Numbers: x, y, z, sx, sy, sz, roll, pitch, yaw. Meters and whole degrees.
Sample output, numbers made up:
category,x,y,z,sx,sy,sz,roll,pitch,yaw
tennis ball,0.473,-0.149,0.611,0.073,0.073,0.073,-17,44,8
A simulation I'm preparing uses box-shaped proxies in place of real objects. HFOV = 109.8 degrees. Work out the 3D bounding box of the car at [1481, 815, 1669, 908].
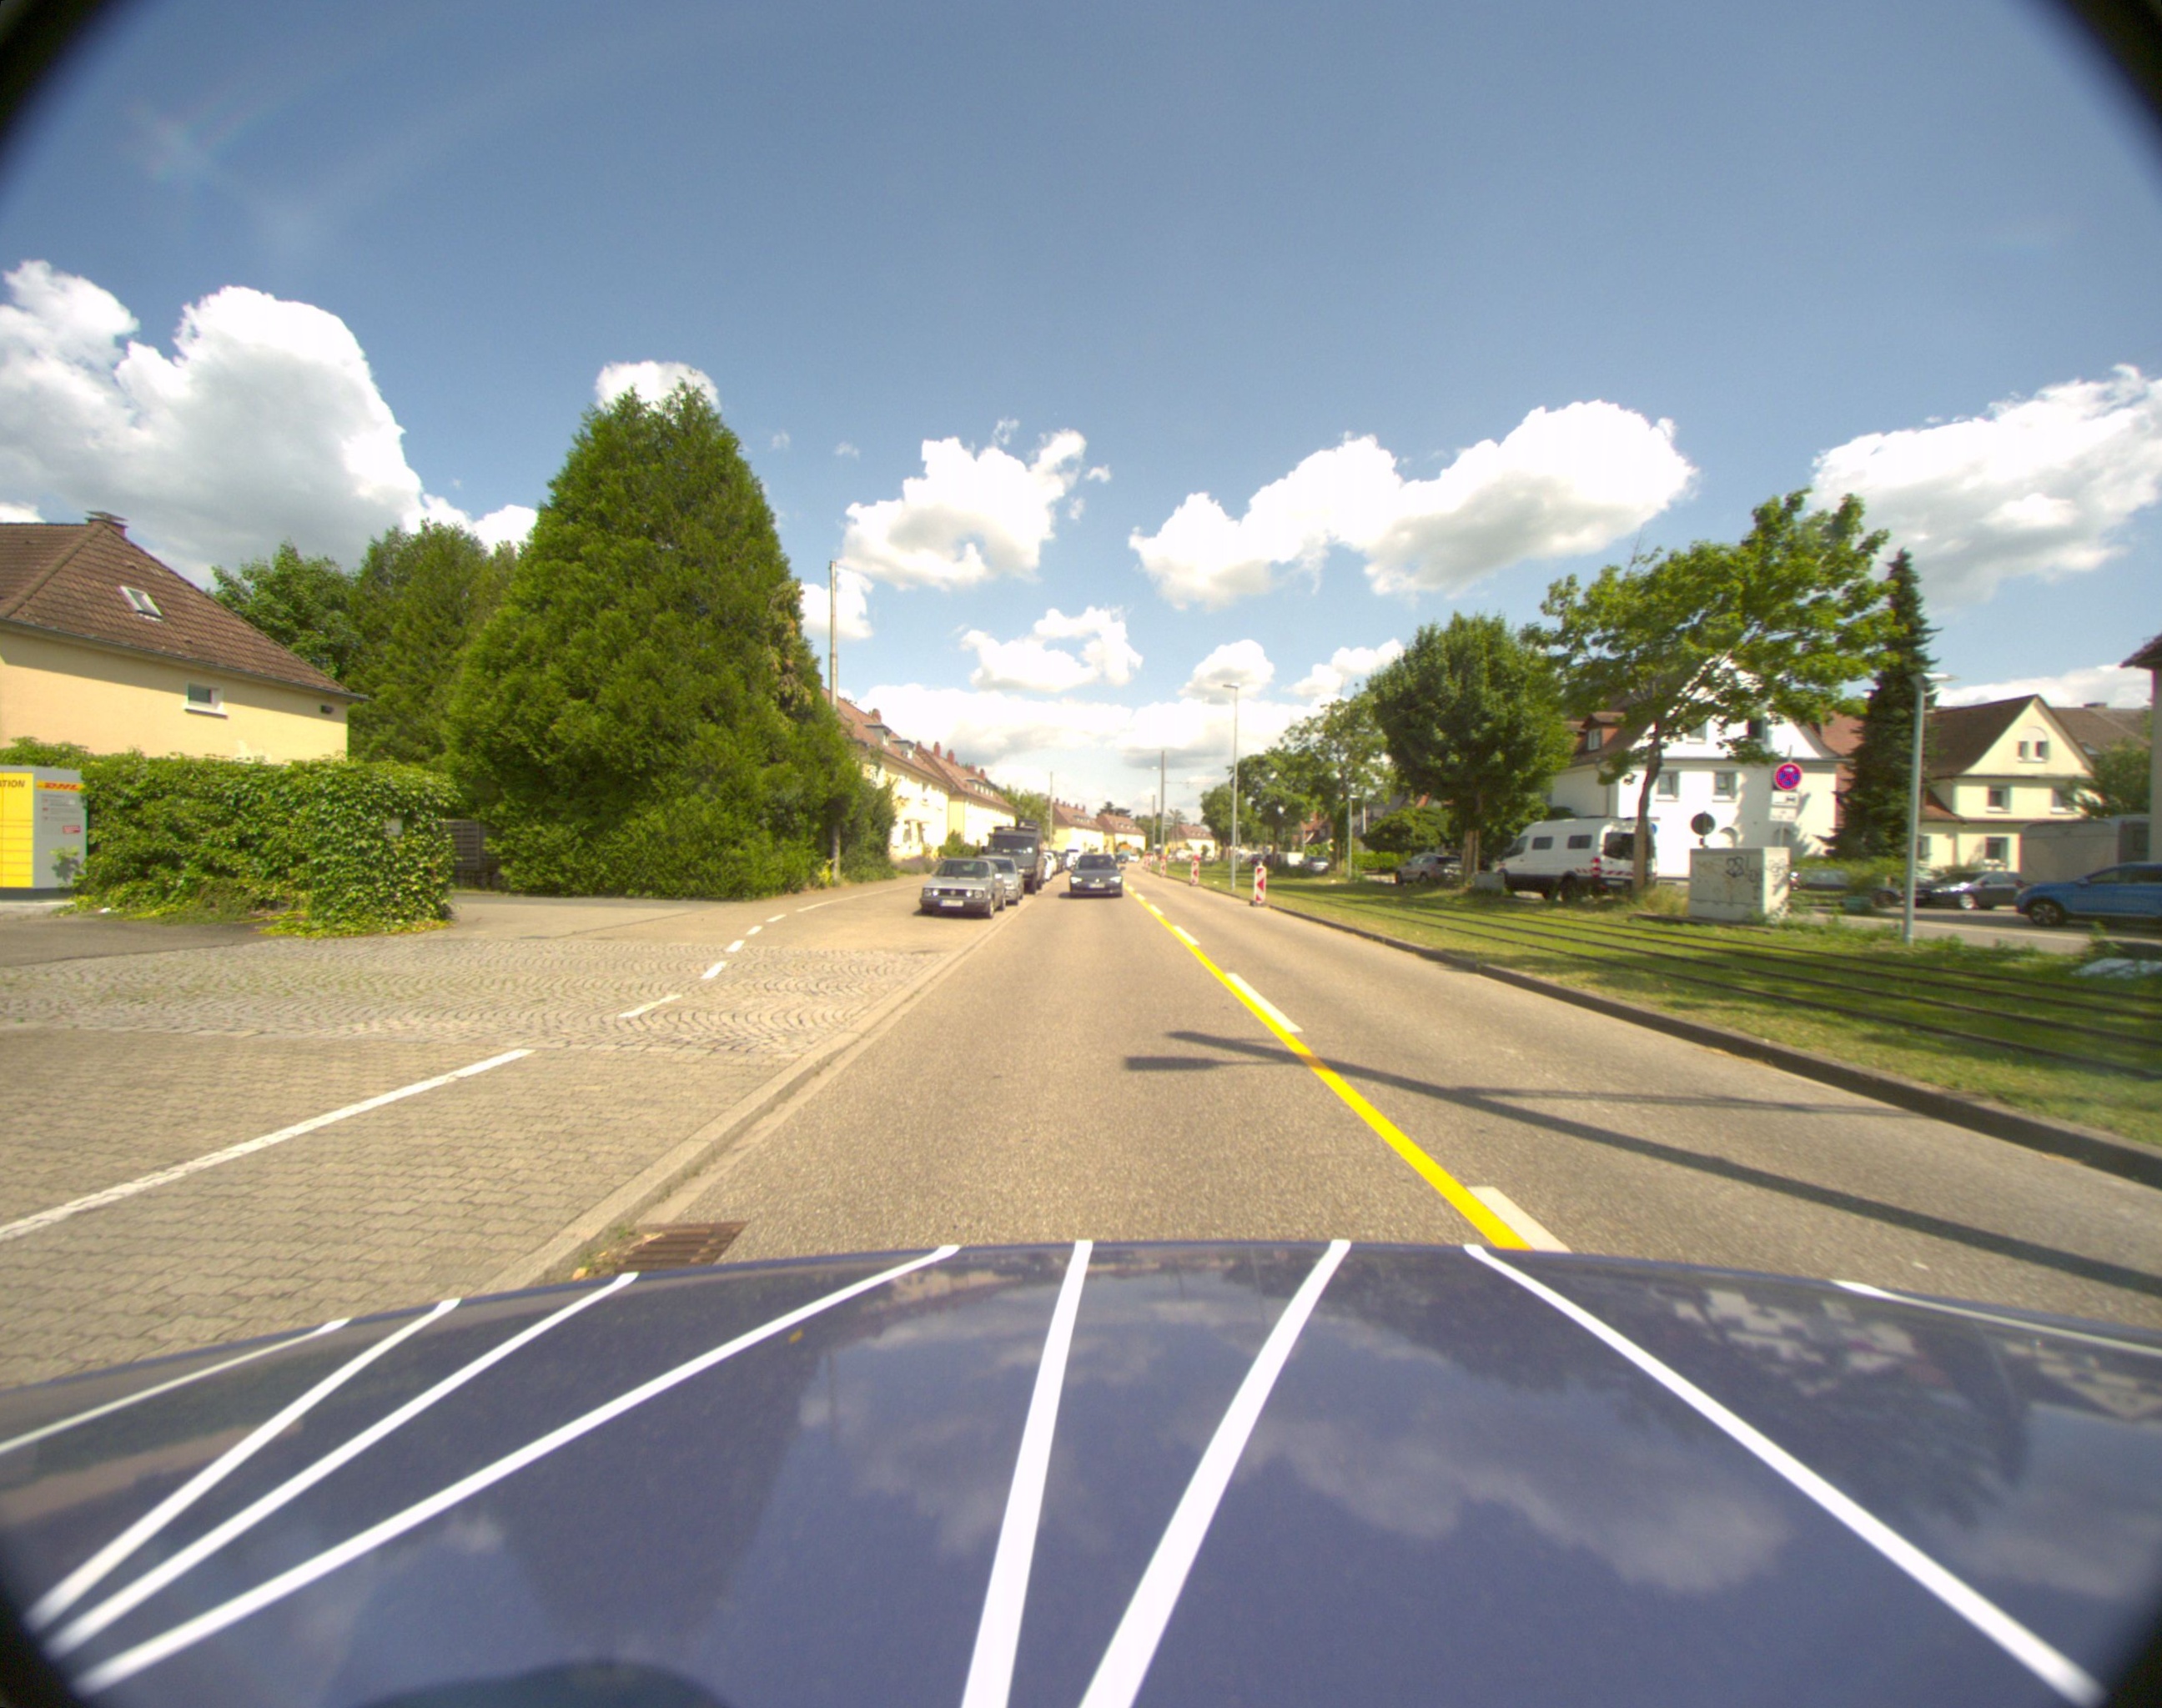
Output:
category,x,y,z,sx,sy,sz,roll,pitch,yaw
car,16.280,0.201,25.670,1.999,2.715,6.461,1,0,-1

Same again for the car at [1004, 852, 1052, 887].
category,x,y,z,sx,sy,sz,roll,pitch,yaw
car,-2.375,0.674,34.843,1.725,1.394,4.836,2,1,1

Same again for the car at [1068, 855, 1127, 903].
category,x,y,z,sx,sy,sz,roll,pitch,yaw
car,0.495,0.779,25.736,1.786,1.412,4.289,1,0,0

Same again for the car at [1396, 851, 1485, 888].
category,x,y,z,sx,sy,sz,roll,pitch,yaw
car,16.482,0.668,35.083,1.998,1.497,4.486,1,1,1

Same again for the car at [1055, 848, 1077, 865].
category,x,y,z,sx,sy,sz,roll,pitch,yaw
car,-1.355,0.203,69.936,1.756,1.480,4.627,2,1,1

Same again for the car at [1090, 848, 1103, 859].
category,x,y,z,sx,sy,sz,roll,pitch,yaw
car,2.206,-0.146,108.256,1.513,1.490,3.408,2,1,6

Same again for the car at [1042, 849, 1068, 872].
category,x,y,z,sx,sy,sz,roll,pitch,yaw
car,-1.878,0.447,56.319,1.689,1.429,4.515,2,2,1

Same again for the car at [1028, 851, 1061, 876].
category,x,y,z,sx,sy,sz,roll,pitch,yaw
car,-2.208,0.552,46.686,1.653,1.410,4.025,2,1,2

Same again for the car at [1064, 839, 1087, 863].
category,x,y,z,sx,sy,sz,roll,pitch,yaw
car,-0.613,-0.312,83.779,1.923,2.522,5.346,2,1,5

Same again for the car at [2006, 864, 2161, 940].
category,x,y,z,sx,sy,sz,roll,pitch,yaw
car,24.758,1.116,17.530,1.907,1.568,3.999,1,1,1

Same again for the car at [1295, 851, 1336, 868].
category,x,y,z,sx,sy,sz,roll,pitch,yaw
car,16.818,0.350,54.580,1.785,1.087,3.835,1,1,1

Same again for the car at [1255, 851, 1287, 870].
category,x,y,z,sx,sy,sz,roll,pitch,yaw
car,17.531,0.580,70.176,1.910,1.569,4.101,4,0,2

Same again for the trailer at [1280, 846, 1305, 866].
category,x,y,z,sx,sy,sz,roll,pitch,yaw
trailer,16.725,0.123,60.052,1.302,1.510,2.281,1,1,1

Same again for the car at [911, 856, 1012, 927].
category,x,y,z,sx,sy,sz,roll,pitch,yaw
car,-2.779,0.813,18.493,1.655,1.423,4.096,1,1,2

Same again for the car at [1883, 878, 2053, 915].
category,x,y,z,sx,sy,sz,roll,pitch,yaw
car,33.396,1.588,28.702,3.997,1.128,2.000,1,1,1

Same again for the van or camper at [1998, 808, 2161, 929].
category,x,y,z,sx,sy,sz,roll,pitch,yaw
van or camper,31.004,0.435,21.508,6.744,3.203,2.634,1,1,1

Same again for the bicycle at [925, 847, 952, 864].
category,x,y,z,sx,sy,sz,roll,pitch,yaw
bicycle,-9.456,0.097,50.467,1.693,1.096,0.290,0,1,1

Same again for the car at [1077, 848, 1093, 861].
category,x,y,z,sx,sy,sz,roll,pitch,yaw
car,0.532,0.052,92.840,1.513,1.490,3.408,2,1,6

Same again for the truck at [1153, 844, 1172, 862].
category,x,y,z,sx,sy,sz,roll,pitch,yaw
truck,16.174,-0.277,150.302,2.700,3.346,8.057,2,1,12

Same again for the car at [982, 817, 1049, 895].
category,x,y,z,sx,sy,sz,roll,pitch,yaw
car,-2.427,0.041,29.482,2.001,2.745,4.878,2,1,1

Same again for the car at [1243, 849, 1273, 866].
category,x,y,z,sx,sy,sz,roll,pitch,yaw
car,17.501,0.365,75.245,1.998,1.531,4.322,1,1,2

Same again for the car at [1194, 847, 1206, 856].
category,x,y,z,sx,sy,sz,roll,pitch,yaw
car,29.582,-0.675,188.420,1.838,2.043,3.875,2,1,27

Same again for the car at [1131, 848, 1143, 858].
category,x,y,z,sx,sy,sz,roll,pitch,yaw
car,9.965,-0.235,134.748,1.997,1.791,4.001,1,1,6

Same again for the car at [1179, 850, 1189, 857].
category,x,y,z,sx,sy,sz,roll,pitch,yaw
car,23.570,-0.069,174.462,1.511,1.490,3.579,2,1,20

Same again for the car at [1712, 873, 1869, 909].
category,x,y,z,sx,sy,sz,roll,pitch,yaw
car,26.930,1.389,28.953,3.997,1.155,2.045,1,1,1

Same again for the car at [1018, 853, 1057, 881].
category,x,y,z,sx,sy,sz,roll,pitch,yaw
car,-2.245,0.654,40.011,1.725,1.288,4.128,2,1,0

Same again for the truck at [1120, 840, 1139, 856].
category,x,y,z,sx,sy,sz,roll,pitch,yaw
truck,9.587,-1.206,148.493,2.530,2.931,7.867,2,1,12

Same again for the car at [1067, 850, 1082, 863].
category,x,y,z,sx,sy,sz,roll,pitch,yaw
car,-0.677,0.226,79.105,1.358,1.299,3.543,2,1,2

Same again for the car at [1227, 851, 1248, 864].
category,x,y,z,sx,sy,sz,roll,pitch,yaw
car,19.350,0.401,94.032,1.998,1.531,4.323,2,1,4

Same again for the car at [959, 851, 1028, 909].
category,x,y,z,sx,sy,sz,roll,pitch,yaw
car,-2.594,0.718,23.415,1.696,1.507,4.354,1,1,-1
